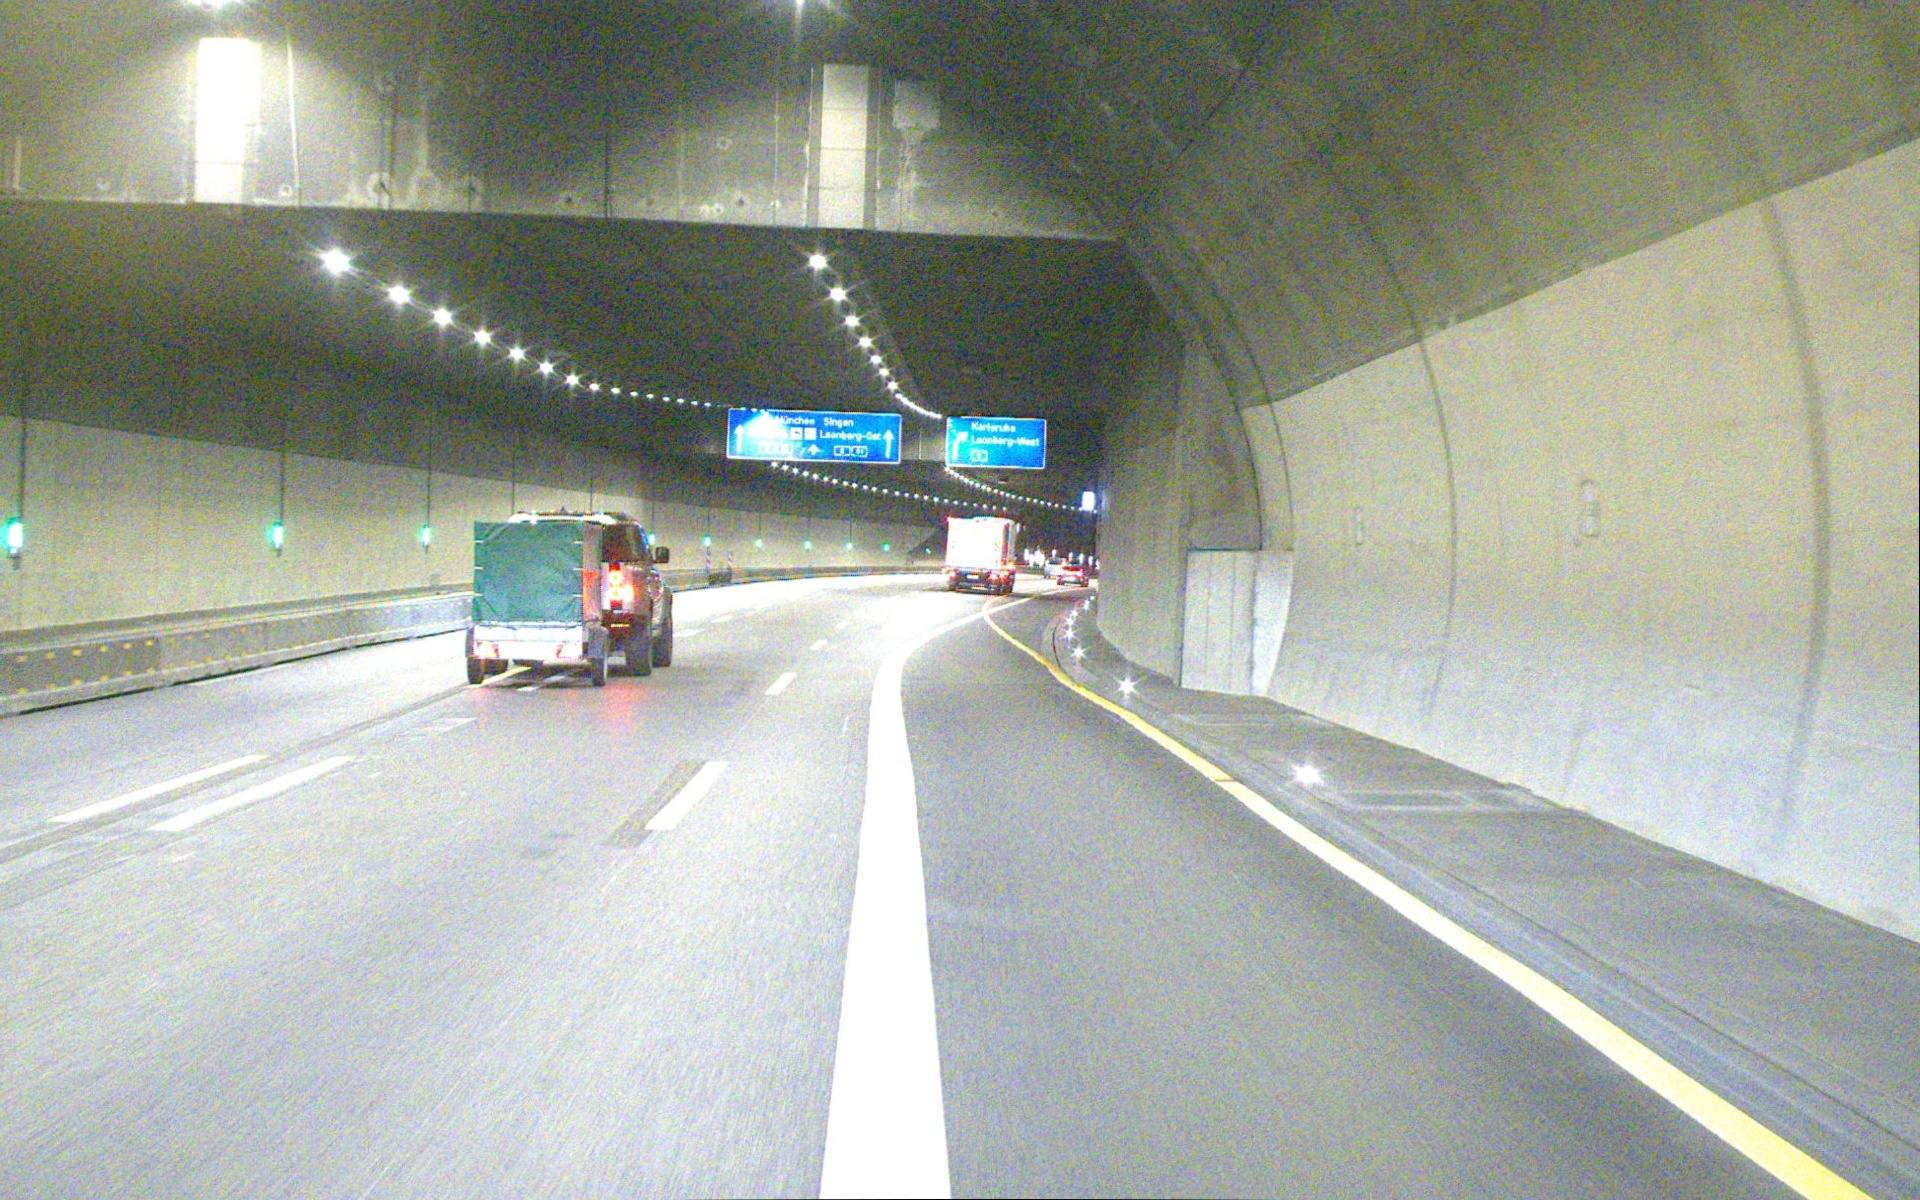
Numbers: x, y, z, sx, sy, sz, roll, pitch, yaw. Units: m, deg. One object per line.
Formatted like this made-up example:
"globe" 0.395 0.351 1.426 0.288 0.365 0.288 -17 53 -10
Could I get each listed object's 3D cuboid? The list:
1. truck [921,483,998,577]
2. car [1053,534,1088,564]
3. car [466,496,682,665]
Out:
"truck" -0.070 -3.374 162.610 3.474 4.301 10.953 0 2 0
"car" 7.165 -3.306 222.994 1.994 1.888 5.532 -1 1 4
"car" -4.581 -0.177 41.532 1.993 1.889 5.453 -1 -1 0
